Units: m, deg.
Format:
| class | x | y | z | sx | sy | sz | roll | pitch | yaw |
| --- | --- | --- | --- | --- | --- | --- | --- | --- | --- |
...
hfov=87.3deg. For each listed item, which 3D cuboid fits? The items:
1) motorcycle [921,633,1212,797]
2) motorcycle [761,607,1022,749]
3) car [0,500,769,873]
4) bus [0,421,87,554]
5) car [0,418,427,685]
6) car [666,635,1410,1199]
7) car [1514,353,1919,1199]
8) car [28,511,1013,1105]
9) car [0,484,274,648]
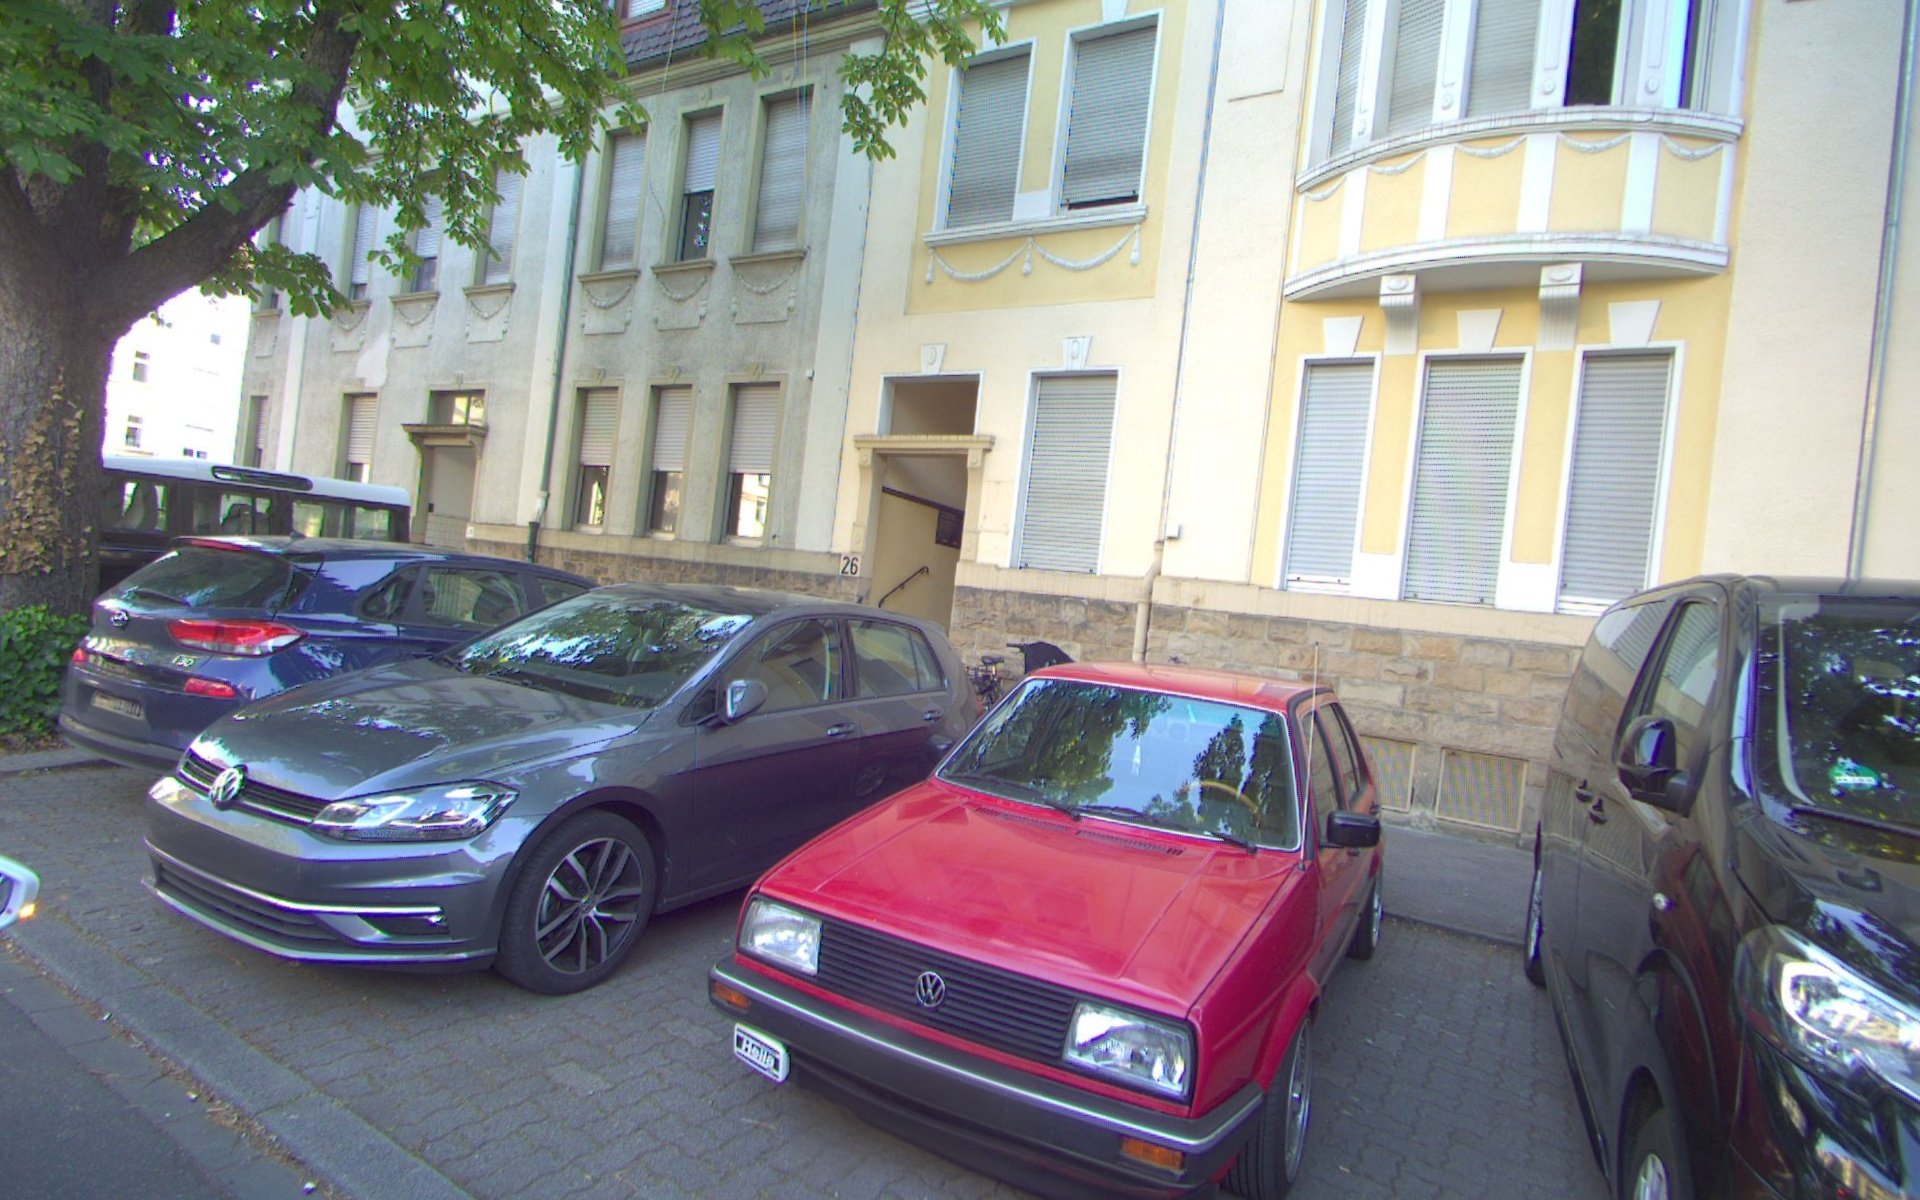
| class | x | y | z | sx | sy | sz | roll | pitch | yaw |
| --- | --- | --- | --- | --- | --- | --- | --- | --- | --- |
| motorcycle | 0.955 | 0.996 | 9.396 | 2.439 | 1.087 | 0.959 | 7 | 2 | 32 |
| motorcycle | -0.790 | 0.772 | 10.786 | 2.822 | 1.087 | 0.694 | 7 | 2 | 31 |
| car | -3.086 | 0.427 | 6.201 | 1.679 | 1.470 | 3.730 | 6 | 0 | 28 |
| bus | -27.413 | -3.354 | 23.275 | 2.859 | 3.240 | 10.482 | 7 | -1 | 24 |
| car | -7.592 | -0.372 | 9.238 | 1.671 | 2.061 | 4.473 | 6 | 0 | 28 |
| car | 0.874 | 0.952 | 4.306 | 1.601 | 1.332 | 4.144 | 6 | 0 | 27 |
| car | 2.850 | 0.879 | 2.878 | 1.864 | 1.898 | 4.759 | 6 | 0 | 27 |
| car | -1.433 | 0.627 | 4.818 | 1.693 | 1.470 | 4.060 | 6 | 0 | 28 |
| car | -9.986 | -0.393 | 10.939 | 1.679 | 1.589 | 3.730 | 6 | 0 | 28 |
